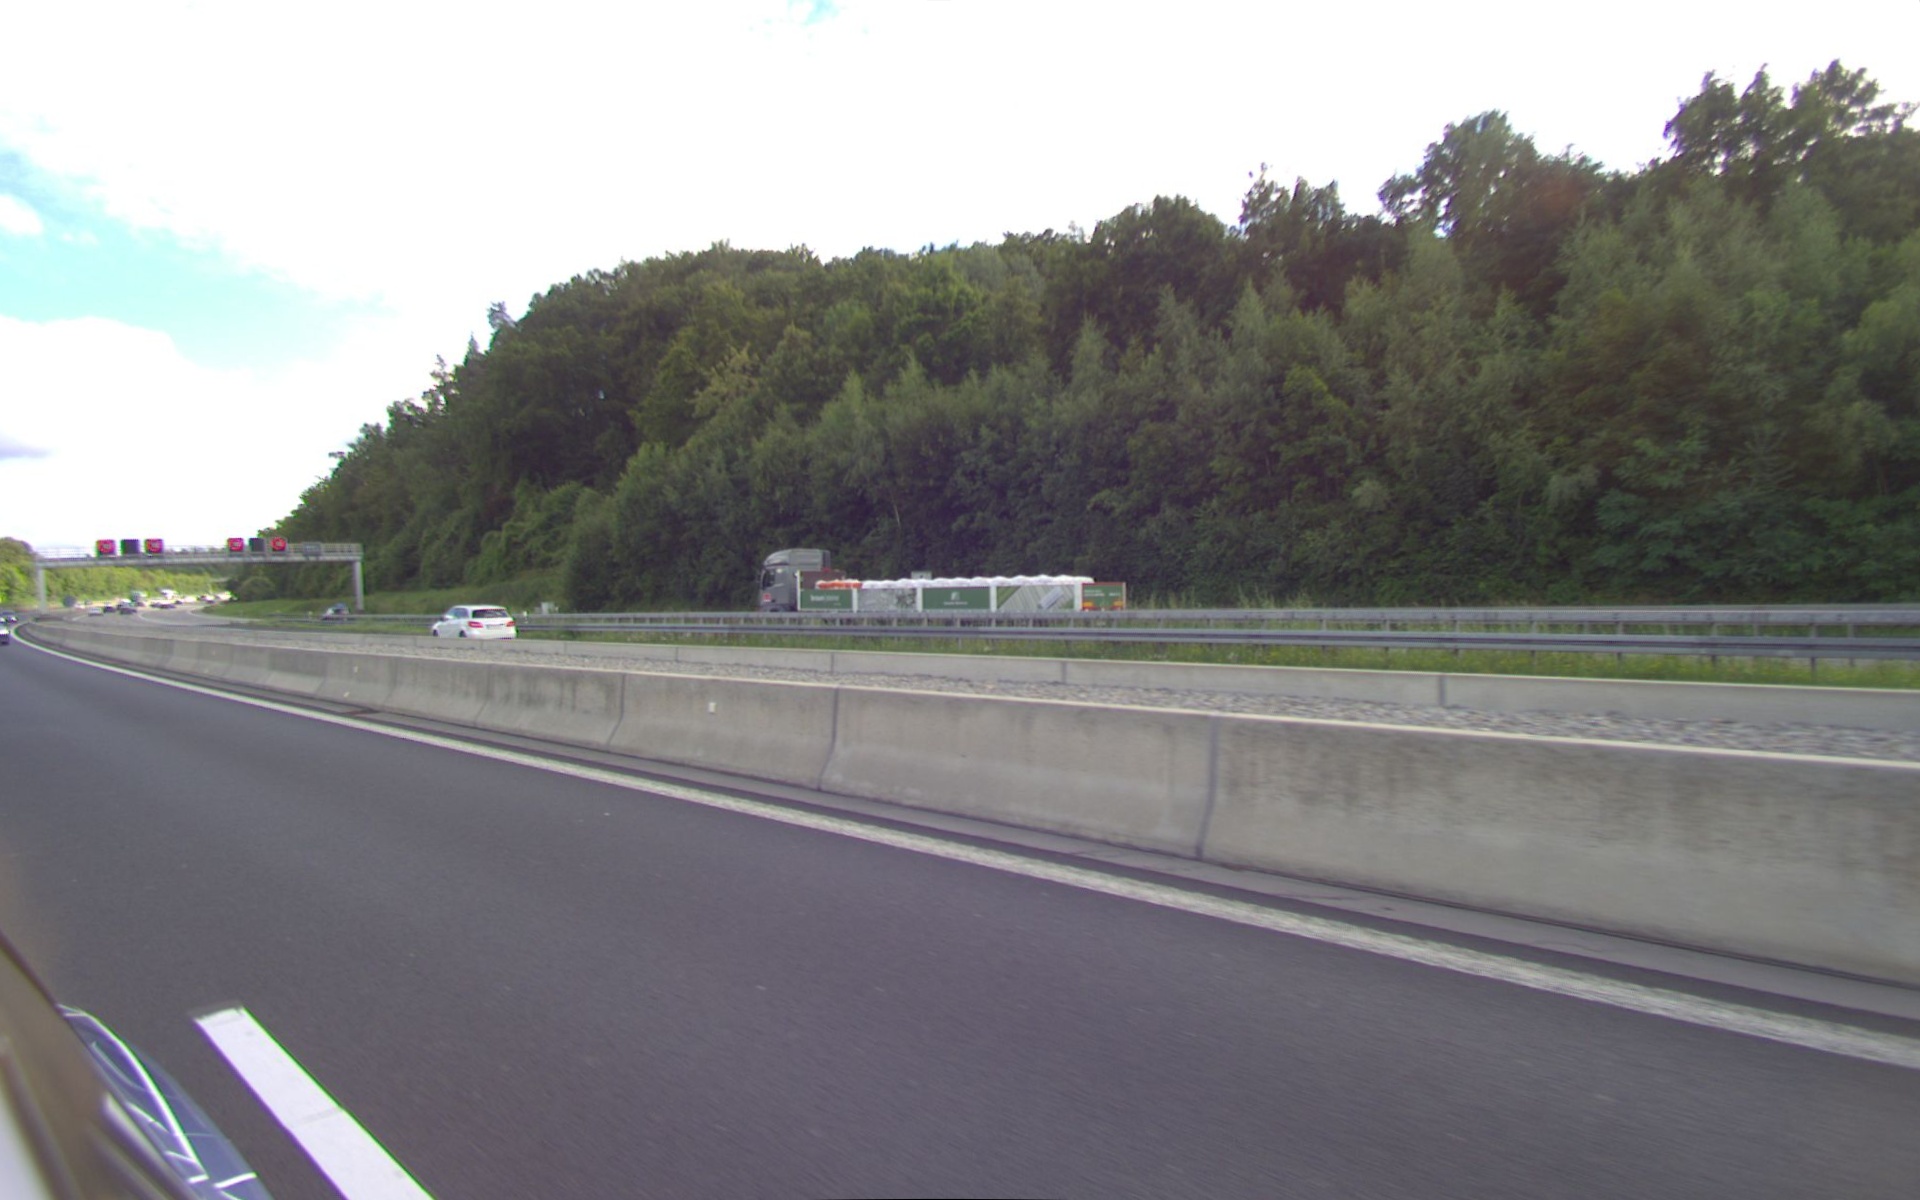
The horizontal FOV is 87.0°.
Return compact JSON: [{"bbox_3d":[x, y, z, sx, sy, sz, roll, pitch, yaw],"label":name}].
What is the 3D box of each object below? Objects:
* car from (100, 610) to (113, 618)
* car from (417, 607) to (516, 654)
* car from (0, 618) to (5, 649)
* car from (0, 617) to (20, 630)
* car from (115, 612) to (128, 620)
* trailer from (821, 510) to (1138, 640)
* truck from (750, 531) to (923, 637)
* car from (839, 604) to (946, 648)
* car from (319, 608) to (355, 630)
[{"bbox_3d":[-173.940,2.885,206.328,1.969,1.653,4.006,-1,0,-40],"label":"car"},{"bbox_3d":[-18.351,1.079,37.524,4.766,1.539,1.694,0,1,43],"label":"car"},{"bbox_3d":[-49.740,1.692,51.430,1.638,1.484,4.005,-1,1,-42],"label":"car"},{"bbox_3d":[-119.454,2.931,127.090,1.969,1.484,4.005,-1,0,-41],"label":"car"},{"bbox_3d":[-154.846,2.918,186.921,1.646,1.406,4.605,-1,0,-43],"label":"car"},{"bbox_3d":[0.188,-0.673,35.117,12.186,3.835,2.783,-1,0,42],"label":"trailer"},{"bbox_3d":[-4.999,-0.557,40.024,7.127,3.855,2.780,-1,0,42],"label":"truck"},{"bbox_3d":[-3.172,1.141,46.822,5.264,1.868,1.971,1,1,45],"label":"car"},{"bbox_3d":[-59.446,1.834,96.535,4.002,2.029,1.971,-1,0,45],"label":"car"}]
